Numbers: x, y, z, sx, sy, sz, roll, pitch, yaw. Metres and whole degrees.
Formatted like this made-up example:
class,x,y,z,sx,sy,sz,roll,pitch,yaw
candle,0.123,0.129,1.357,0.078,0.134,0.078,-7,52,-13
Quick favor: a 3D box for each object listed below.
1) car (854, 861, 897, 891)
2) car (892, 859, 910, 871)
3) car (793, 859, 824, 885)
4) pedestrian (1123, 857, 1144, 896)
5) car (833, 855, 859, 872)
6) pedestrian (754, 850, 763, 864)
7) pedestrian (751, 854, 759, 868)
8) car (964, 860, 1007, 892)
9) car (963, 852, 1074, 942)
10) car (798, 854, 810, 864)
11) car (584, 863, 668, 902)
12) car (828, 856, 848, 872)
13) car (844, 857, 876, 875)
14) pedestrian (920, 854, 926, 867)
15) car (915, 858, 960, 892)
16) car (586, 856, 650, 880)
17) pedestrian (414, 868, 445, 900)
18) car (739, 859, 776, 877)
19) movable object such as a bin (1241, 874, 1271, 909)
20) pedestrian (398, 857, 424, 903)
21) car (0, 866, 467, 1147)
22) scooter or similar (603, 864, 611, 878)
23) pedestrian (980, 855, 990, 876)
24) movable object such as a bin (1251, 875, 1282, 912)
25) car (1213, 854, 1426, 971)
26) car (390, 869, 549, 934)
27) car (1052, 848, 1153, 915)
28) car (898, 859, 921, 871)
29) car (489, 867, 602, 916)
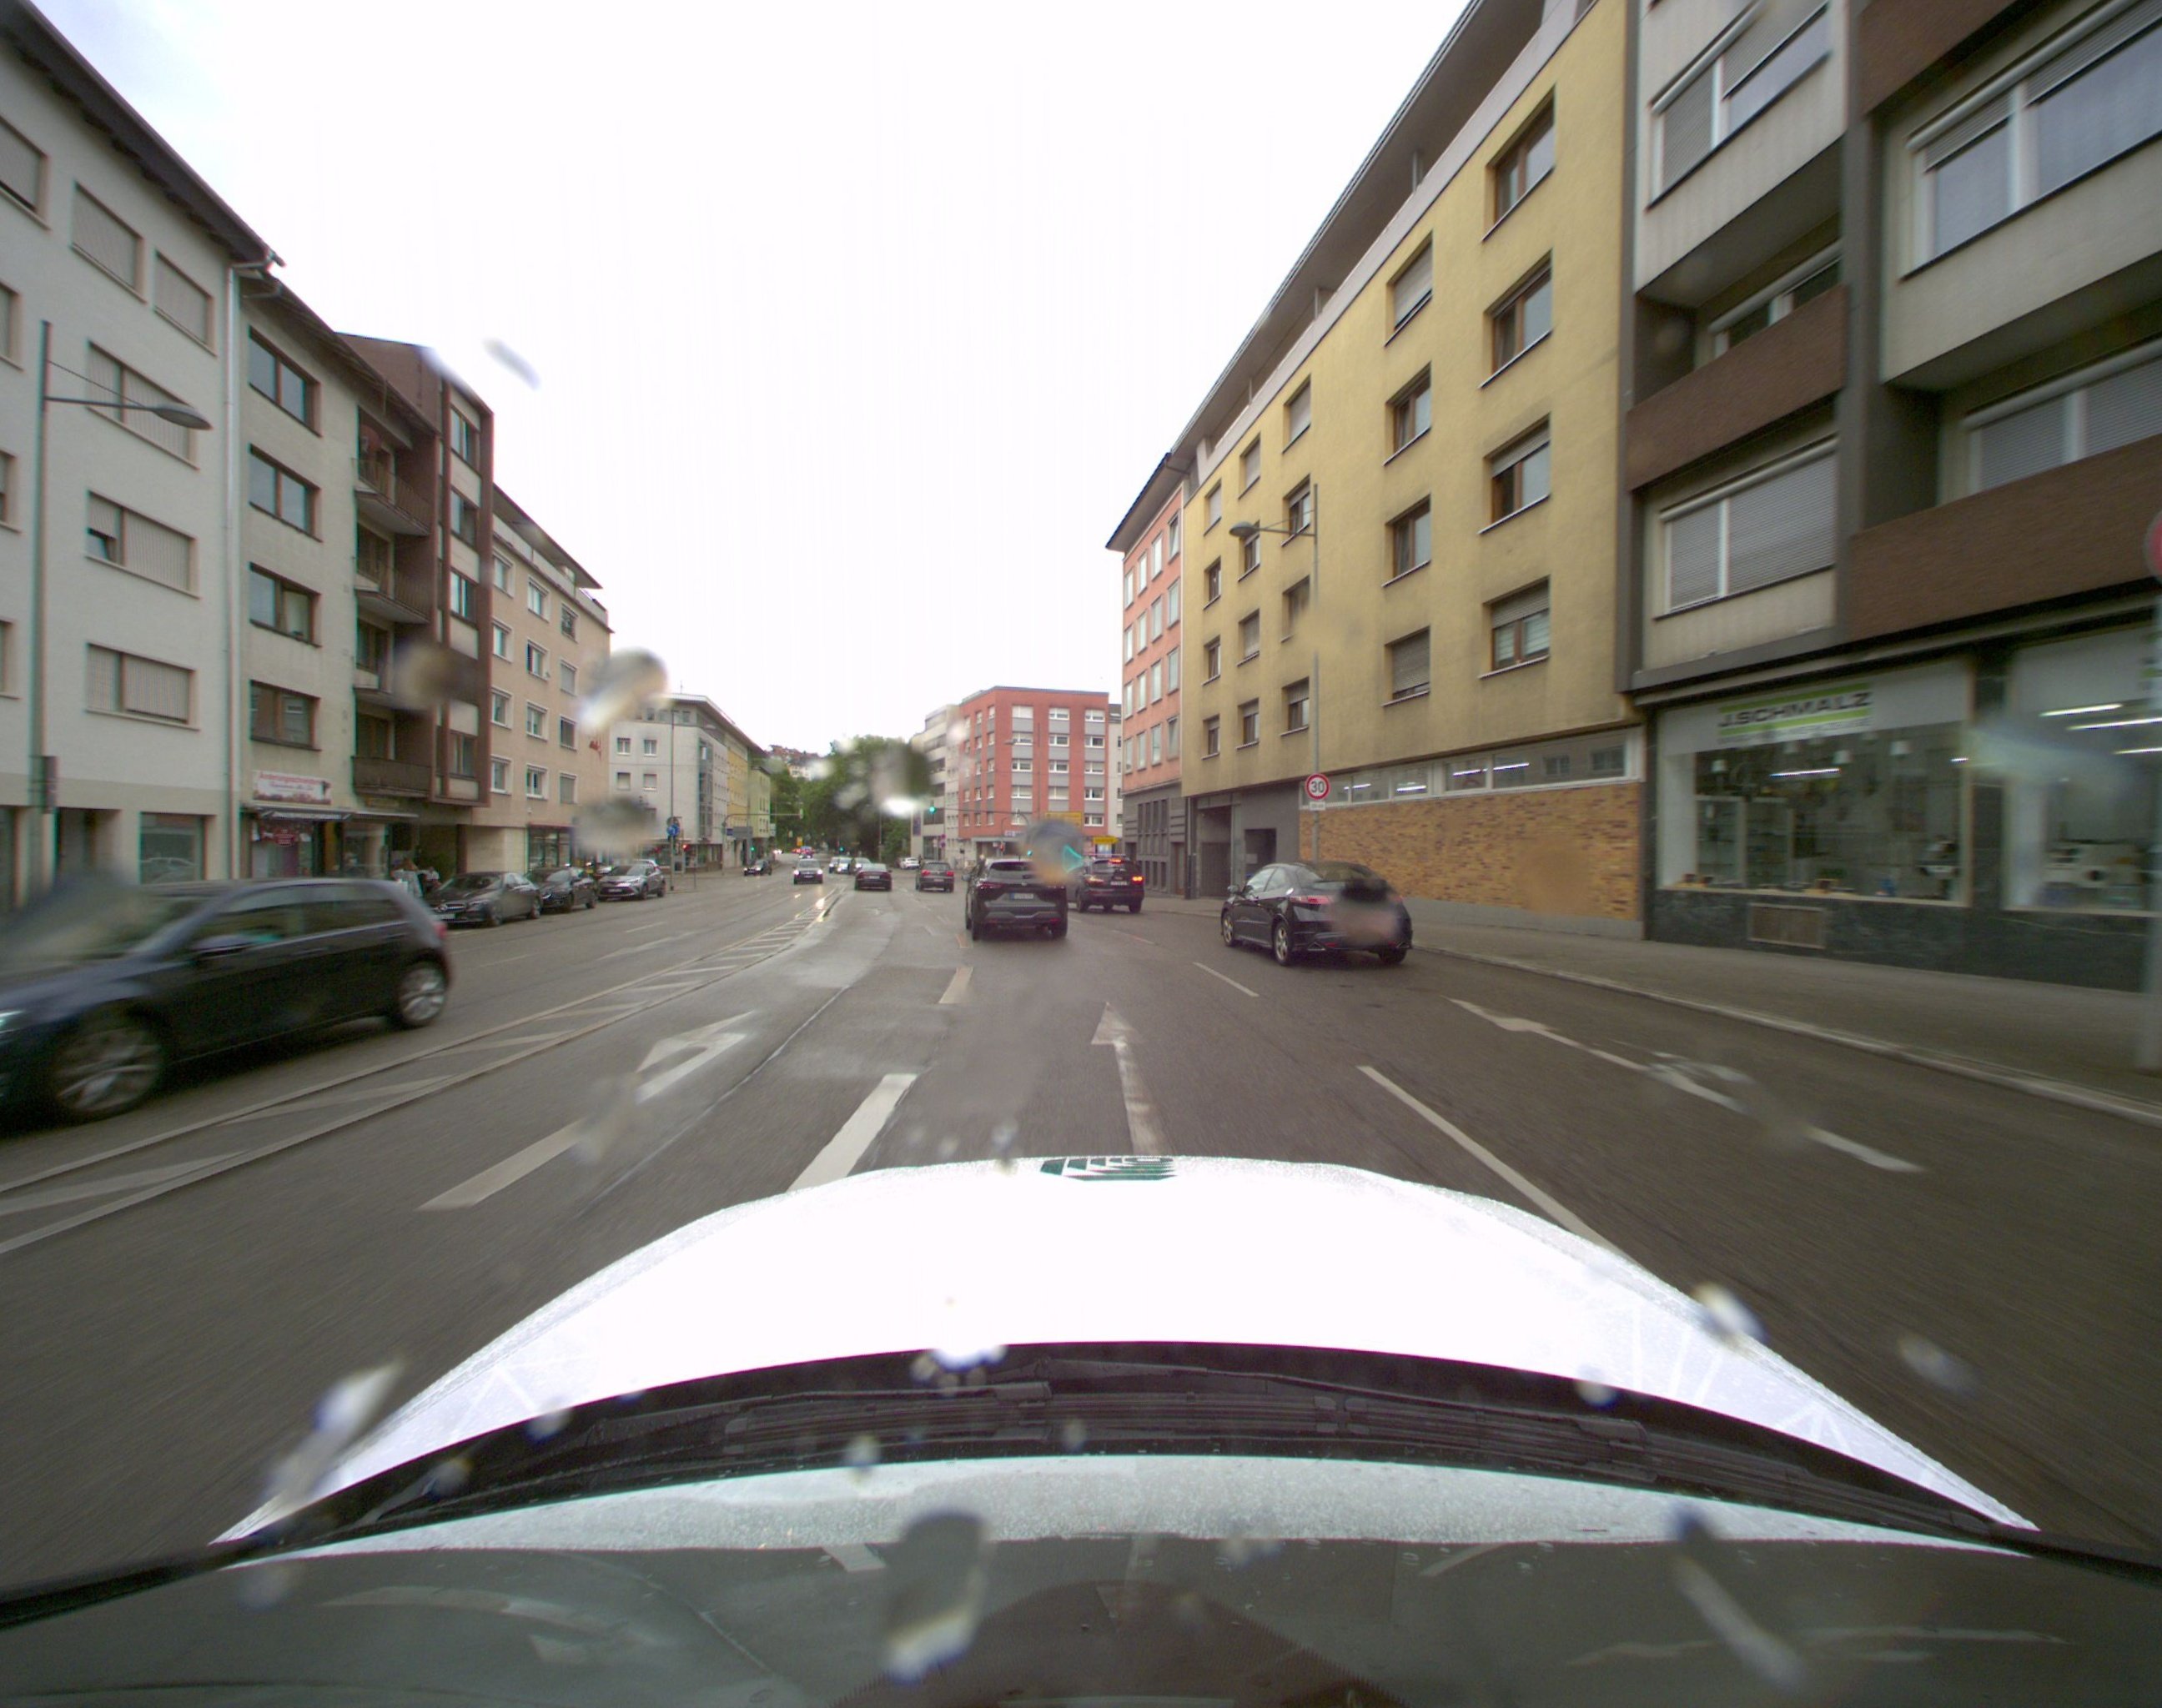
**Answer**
class,x,y,z,sx,sy,sz,roll,pitch,yaw
car,-11.063,1.163,43.687,1.998,1.388,4.475,3,0,-16
car,-23.535,1.371,106.416,1.721,1.442,4.053,-1,1,-21
car,-18.128,1.152,54.024,1.868,1.647,4.225,-1,0,-20
pedestrian,2.429,1.022,37.936,0.673,1.787,1.091,1,-1,-12
car,-22.234,0.928,76.924,1.942,1.527,4.104,0,-1,-22
pedestrian,-41.110,0.376,103.783,0.867,1.788,0.870,3,-1,-16
pedestrian,-38.060,0.854,94.984,0.688,1.581,0.648,3,-1,-15
car,-5.864,1.291,49.488,1.950,1.816,3.978,-1,0,-16
car,-1.426,0.815,16.877,1.895,1.629,3.985,0,-1,-10
car,-51.892,0.956,152.612,1.998,1.860,3.978,3,0,-17
car,-19.500,1.183,35.150,1.910,1.554,4.610,-1,-1,-13
car,-24.434,1.025,81.836,1.825,1.608,4.404,0,-1,-18
car,-19.593,1.032,72.156,1.867,1.553,4.187,0,0,-28
pedestrian,-21.238,0.895,109.497,0.616,1.737,0.675,-1,0,-29
car,-7.876,1.114,44.380,1.950,1.685,3.978,3,-1,-16
car,-35.790,1.067,62.989,4.018,1.706,1.668,3,-1,-37
pedestrian,-24.237,1.110,30.314,0.668,1.148,0.597,0,-1,13
car,-29.692,1.289,74.783,1.686,1.627,4.002,-1,0,2
movable object such as a bin,5.423,1.158,25.256,0.682,1.077,0.665,0,-1,-15
pedestrian,-23.459,0.889,28.503,0.546,1.583,0.663,1,-1,-28
car,-6.882,0.885,6.153,1.681,1.473,3.992,-2,0,-5
scooter or similar,-38.956,1.410,66.958,0.367,1.094,1.122,-1,3,-39
pedestrian,-9.674,1.150,82.156,0.827,2.158,0.765,3,-1,-16
movable object such as a bin,5.584,1.181,24.575,0.682,1.077,0.665,0,-1,-15
car,3.437,0.777,12.582,1.781,1.497,4.048,0,-1,-6
car,-16.495,1.185,22.323,1.887,1.477,4.950,-1,0,-17
car,0.564,0.812,26.069,2.024,1.869,4.876,-1,0,-13
car,-21.157,1.327,100.415,1.783,1.401,4.542,-1,1,-25
car,-17.910,1.191,27.498,1.998,1.477,4.492,0,0,-17
